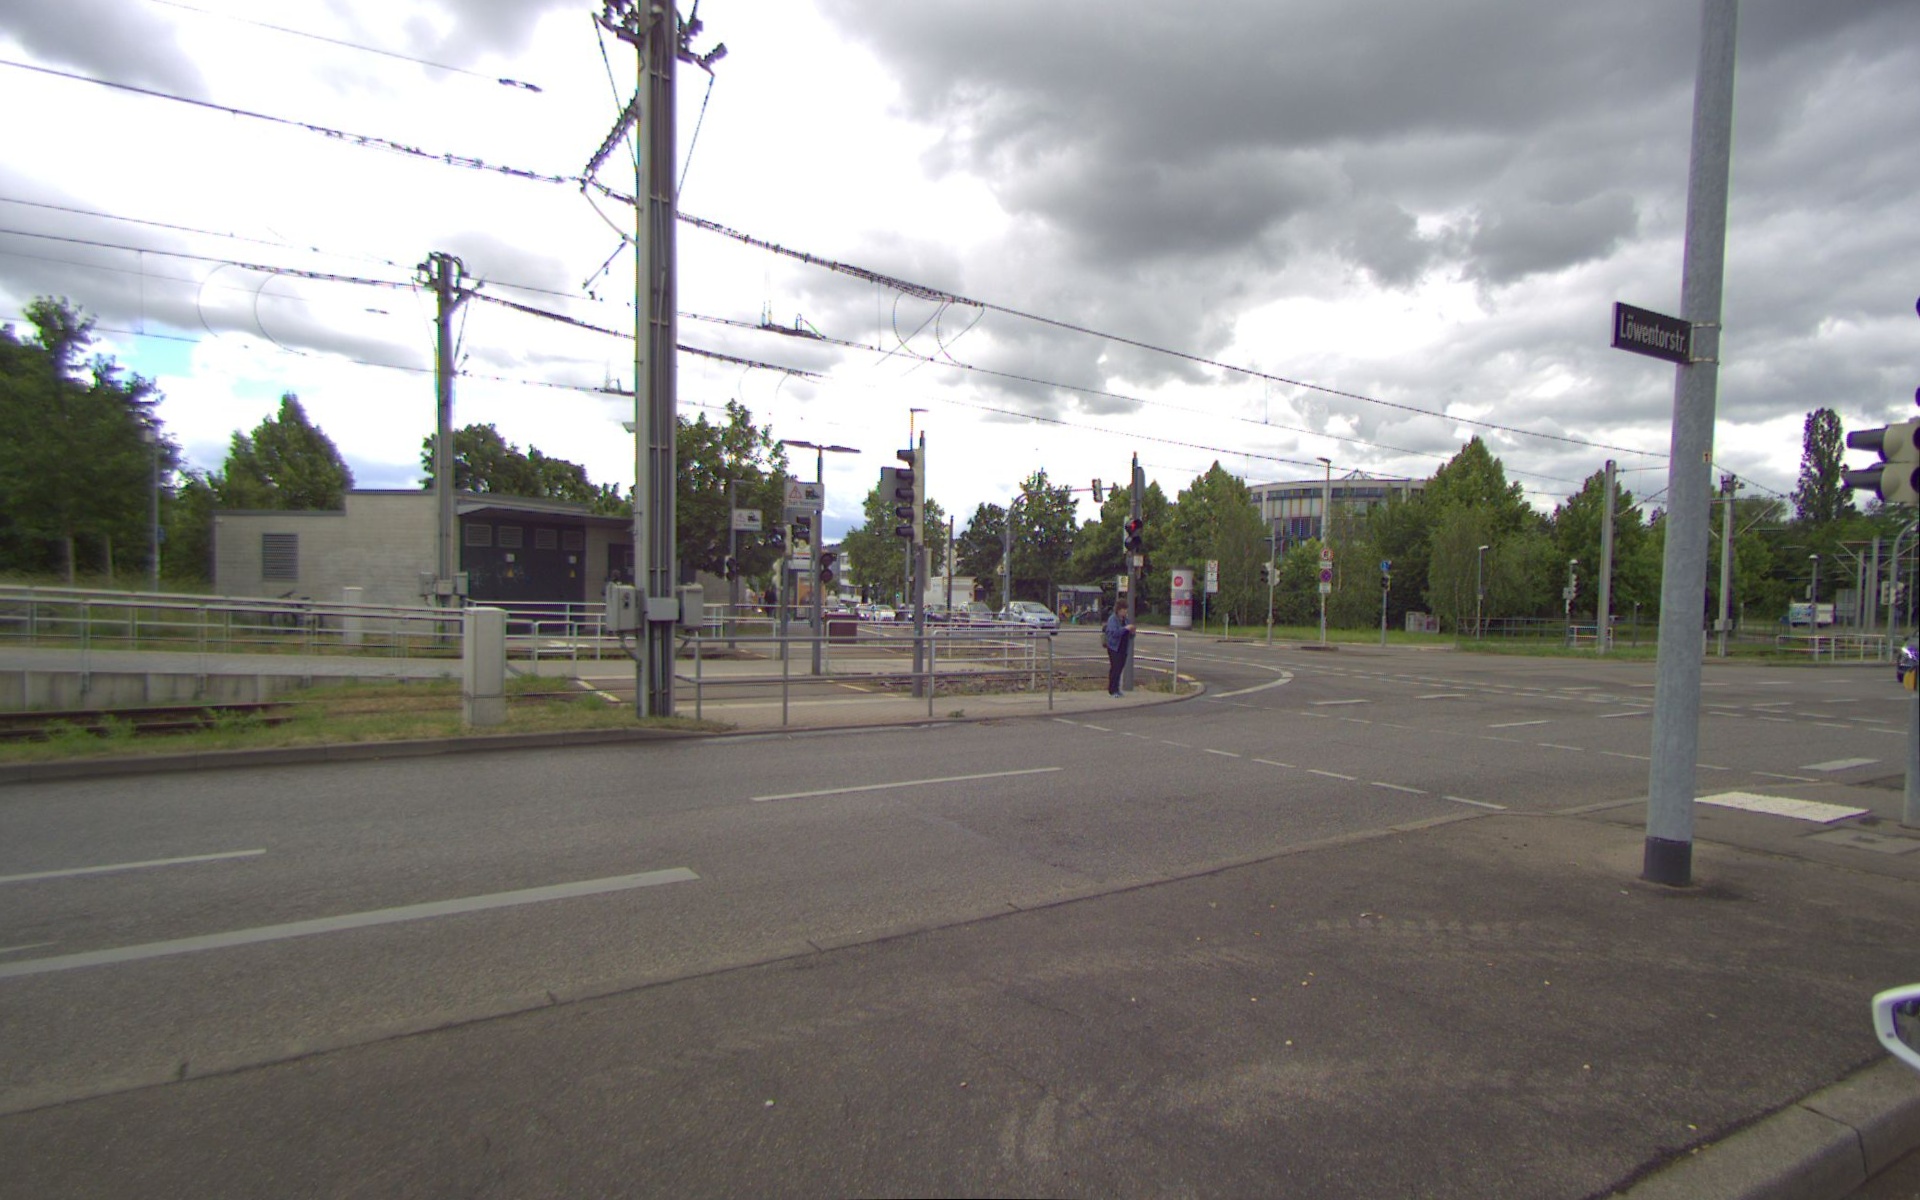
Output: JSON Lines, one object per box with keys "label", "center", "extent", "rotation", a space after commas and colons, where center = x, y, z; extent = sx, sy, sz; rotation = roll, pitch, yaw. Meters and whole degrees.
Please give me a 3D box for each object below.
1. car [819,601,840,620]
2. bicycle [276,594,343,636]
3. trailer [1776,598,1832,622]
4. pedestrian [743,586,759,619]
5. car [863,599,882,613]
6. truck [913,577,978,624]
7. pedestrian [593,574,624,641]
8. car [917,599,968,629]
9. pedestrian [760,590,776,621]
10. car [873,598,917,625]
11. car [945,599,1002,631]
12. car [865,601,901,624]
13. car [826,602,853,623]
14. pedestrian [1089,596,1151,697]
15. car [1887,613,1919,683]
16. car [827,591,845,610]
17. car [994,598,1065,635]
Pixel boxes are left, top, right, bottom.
{"label": "car", "center": [-13.627, 1.080, 104.835], "extent": [1.869, 1.805, 3.990], "rotation": [1, 0, -13]}
{"label": "bicycle", "center": [-17.341, 0.393, 26.764], "extent": [1.778, 1.045, 0.536], "rotation": [2, 0, 21]}
{"label": "trailer", "center": [115.841, 1.383, 137.971], "extent": [2.700, 3.052, 6.089], "rotation": [2, 0, 2]}
{"label": "pedestrian", "center": [-10.053, 0.138, 48.361], "extent": [0.633, 1.557, 0.521], "rotation": [2, 0, -2]}
{"label": "car", "center": [-10.426, 0.747, 120.037], "extent": [2.007, 1.617, 3.998], "rotation": [2, 0, -3]}
{"label": "truck", "center": [-1.315, -0.002, 81.723], "extent": [2.966, 3.580, 9.253], "rotation": [1, 0, -15]}
{"label": "pedestrian", "center": [-9.285, 0.199, 26.551], "extent": [0.700, 1.751, 0.674], "rotation": [2, 0, -19]}
{"label": "car", "center": [-1.065, 0.759, 58.033], "extent": [1.776, 1.617, 3.982], "rotation": [2, 0, -20]}
{"label": "pedestrian", "center": [-8.648, 0.258, 45.180], "extent": [0.591, 1.377, 0.616], "rotation": [2, 0, -3]}
{"label": "car", "center": [-4.209, 0.695, 64.700], "extent": [1.776, 1.617, 3.982], "rotation": [2, 0, -20]}
{"label": "car", "center": [0.666, 0.792, 53.859], "extent": [1.776, 1.617, 3.982], "rotation": [2, 0, -20]}
{"label": "car", "center": [-5.767, 0.924, 74.892], "extent": [1.775, 1.617, 3.985], "rotation": [2, 0, -17]}
{"label": "car", "center": [-10.982, 1.103, 91.210], "extent": [1.869, 1.805, 3.988], "rotation": [1, 0, -14]}
{"label": "pedestrian", "center": [2.551, 0.730, 16.048], "extent": [0.712, 1.557, 0.630], "rotation": [2, 0, -33]}
{"label": "car", "center": [27.434, 1.311, 27.588], "extent": [5.041, 1.836, 1.875], "rotation": [1, -1, -35]}
{"label": "car", "center": [-14.618, 0.054, 118.100], "extent": [1.964, 2.218, 5.800], "rotation": [1, 0, -9]}
{"label": "car", "center": [3.196, 0.732, 46.893], "extent": [1.848, 1.617, 3.982], "rotation": [2, 0, -20]}
